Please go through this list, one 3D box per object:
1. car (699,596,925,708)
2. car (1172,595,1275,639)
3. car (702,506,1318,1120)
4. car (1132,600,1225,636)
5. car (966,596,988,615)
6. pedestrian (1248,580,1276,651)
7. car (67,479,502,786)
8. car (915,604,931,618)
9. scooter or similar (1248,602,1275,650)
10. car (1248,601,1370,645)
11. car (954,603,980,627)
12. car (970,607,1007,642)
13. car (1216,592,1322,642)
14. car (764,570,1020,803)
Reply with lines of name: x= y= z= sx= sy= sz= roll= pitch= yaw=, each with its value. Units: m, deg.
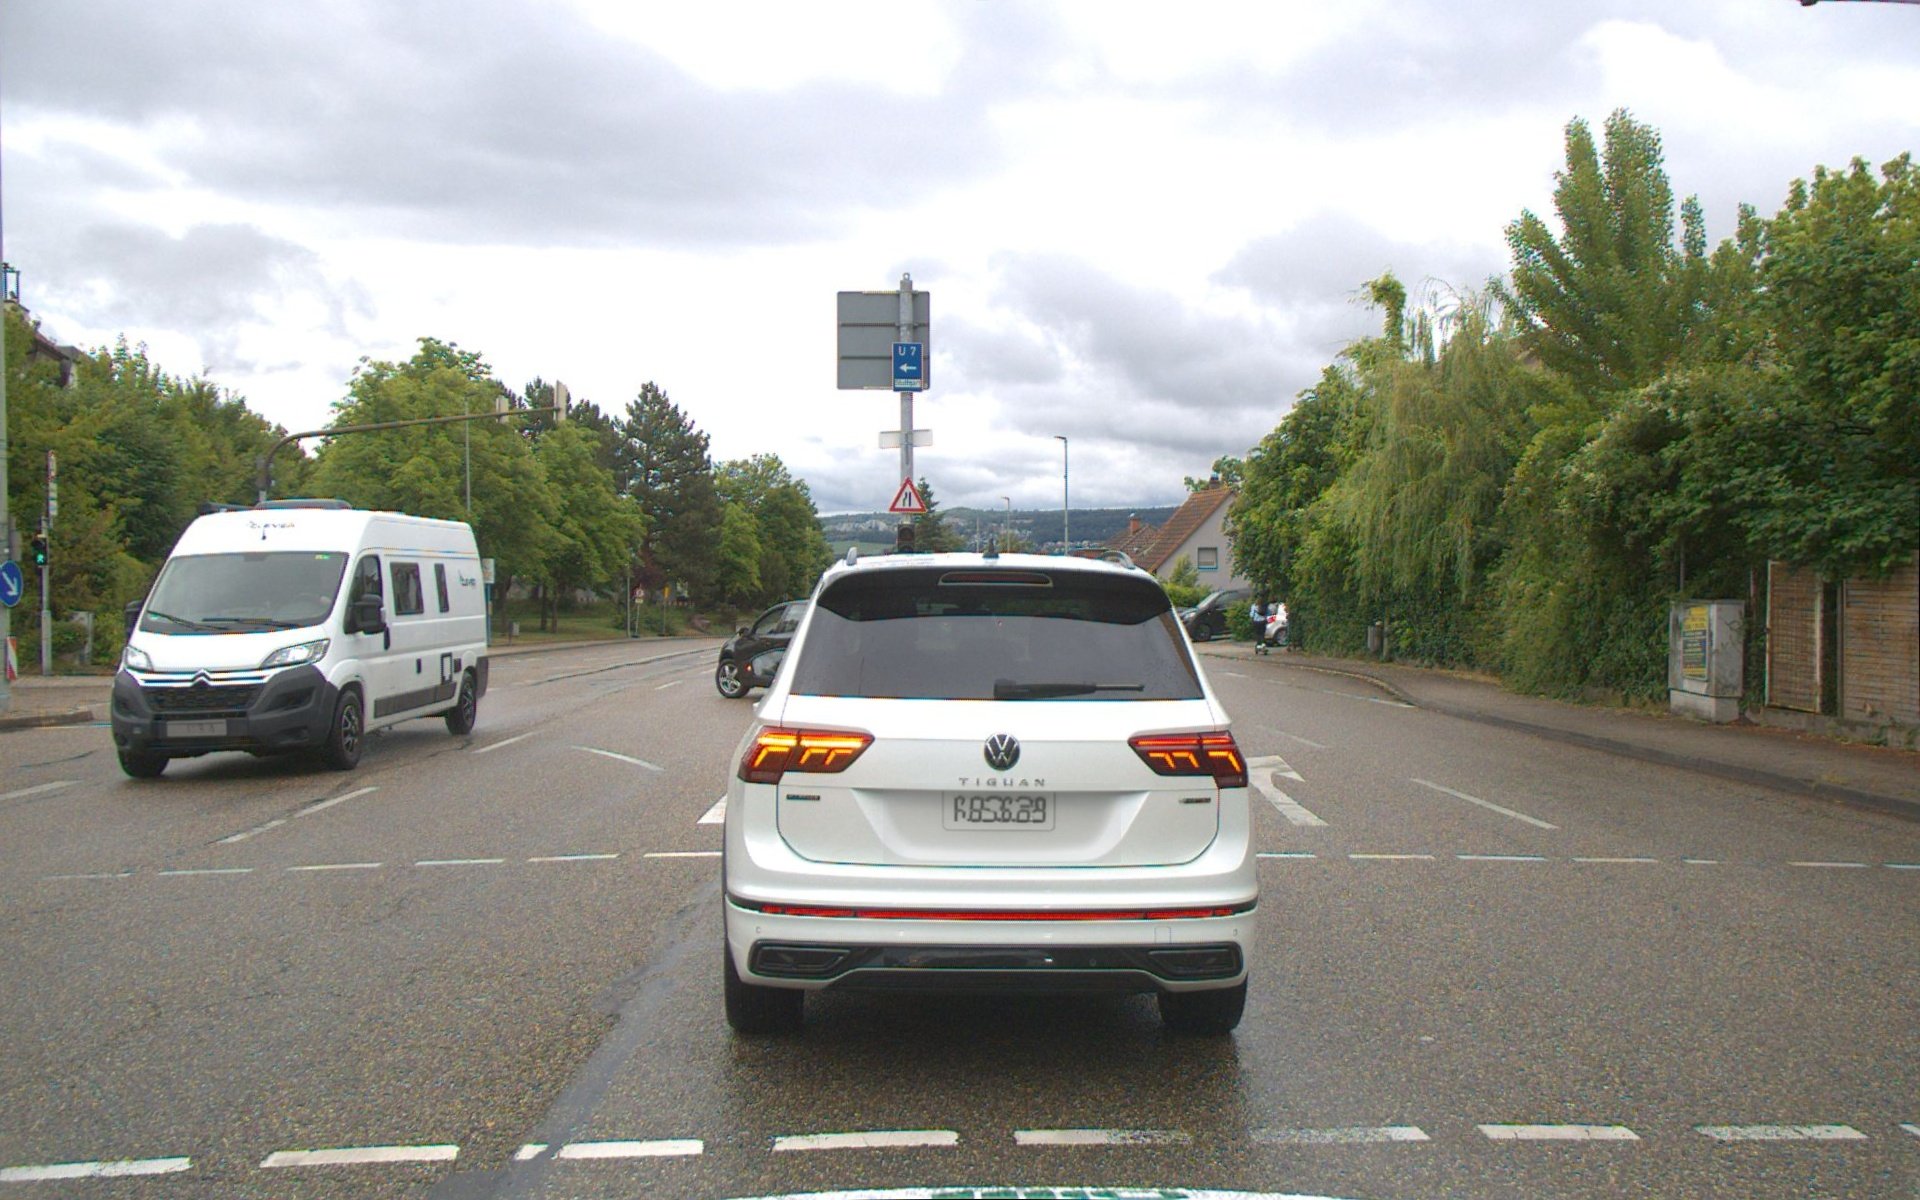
car: x=-2.296 y=0.709 z=24.743 sx=1.744 sy=1.505 sz=3.954 roll=-1 pitch=0 yaw=-33
car: x=10.067 y=0.650 z=63.334 sx=3.556 sy=1.655 sz=1.789 roll=0 pitch=-1 yaw=-5
car: x=0.088 y=0.604 z=6.856 sx=1.727 sy=1.725 sz=4.271 roll=1 pitch=0 yaw=-2
car: x=9.002 y=0.741 z=68.187 sx=3.613 sy=1.394 sz=1.518 roll=1 pitch=-2 yaw=-3
car: x=1.493 y=0.497 z=144.688 sx=1.813 sy=1.602 sz=3.999 roll=-1 pitch=0 yaw=-1
pedestrian: x=8.805 y=0.450 z=48.218 sx=0.642 sy=2.037 sz=0.717 roll=0 pitch=0 yaw=-4
car: x=-6.660 y=0.286 z=17.238 sx=2.251 sy=2.572 sz=5.771 roll=-2 pitch=0 yaw=-2
car: x=-4.474 y=1.325 z=200.603 sx=1.813 sy=1.602 sz=3.999 roll=-1 pitch=0 yaw=-1
scooter or similar: x=8.790 y=0.753 z=48.271 sx=0.452 sy=1.385 sz=1.383 roll=0 pitch=0 yaw=-4
car: x=11.726 y=0.768 z=55.690 sx=3.644 sy=1.420 sz=1.725 roll=-1 pitch=-1 yaw=-8
car: x=0.486 y=1.070 z=119.137 sx=1.813 sy=1.602 sz=4.000 roll=-1 pitch=0 yaw=-1
car: x=1.242 y=1.041 z=72.351 sx=1.592 sy=1.427 sz=3.690 roll=1 pitch=0 yaw=1
car: x=11.367 y=0.601 z=60.988 sx=3.556 sy=1.777 sz=1.706 roll=0 pitch=1 yaw=-5
car: x=-0.406 y=0.603 z=13.577 sx=1.761 sy=1.617 sz=3.927 roll=-1 pitch=0 yaw=2
